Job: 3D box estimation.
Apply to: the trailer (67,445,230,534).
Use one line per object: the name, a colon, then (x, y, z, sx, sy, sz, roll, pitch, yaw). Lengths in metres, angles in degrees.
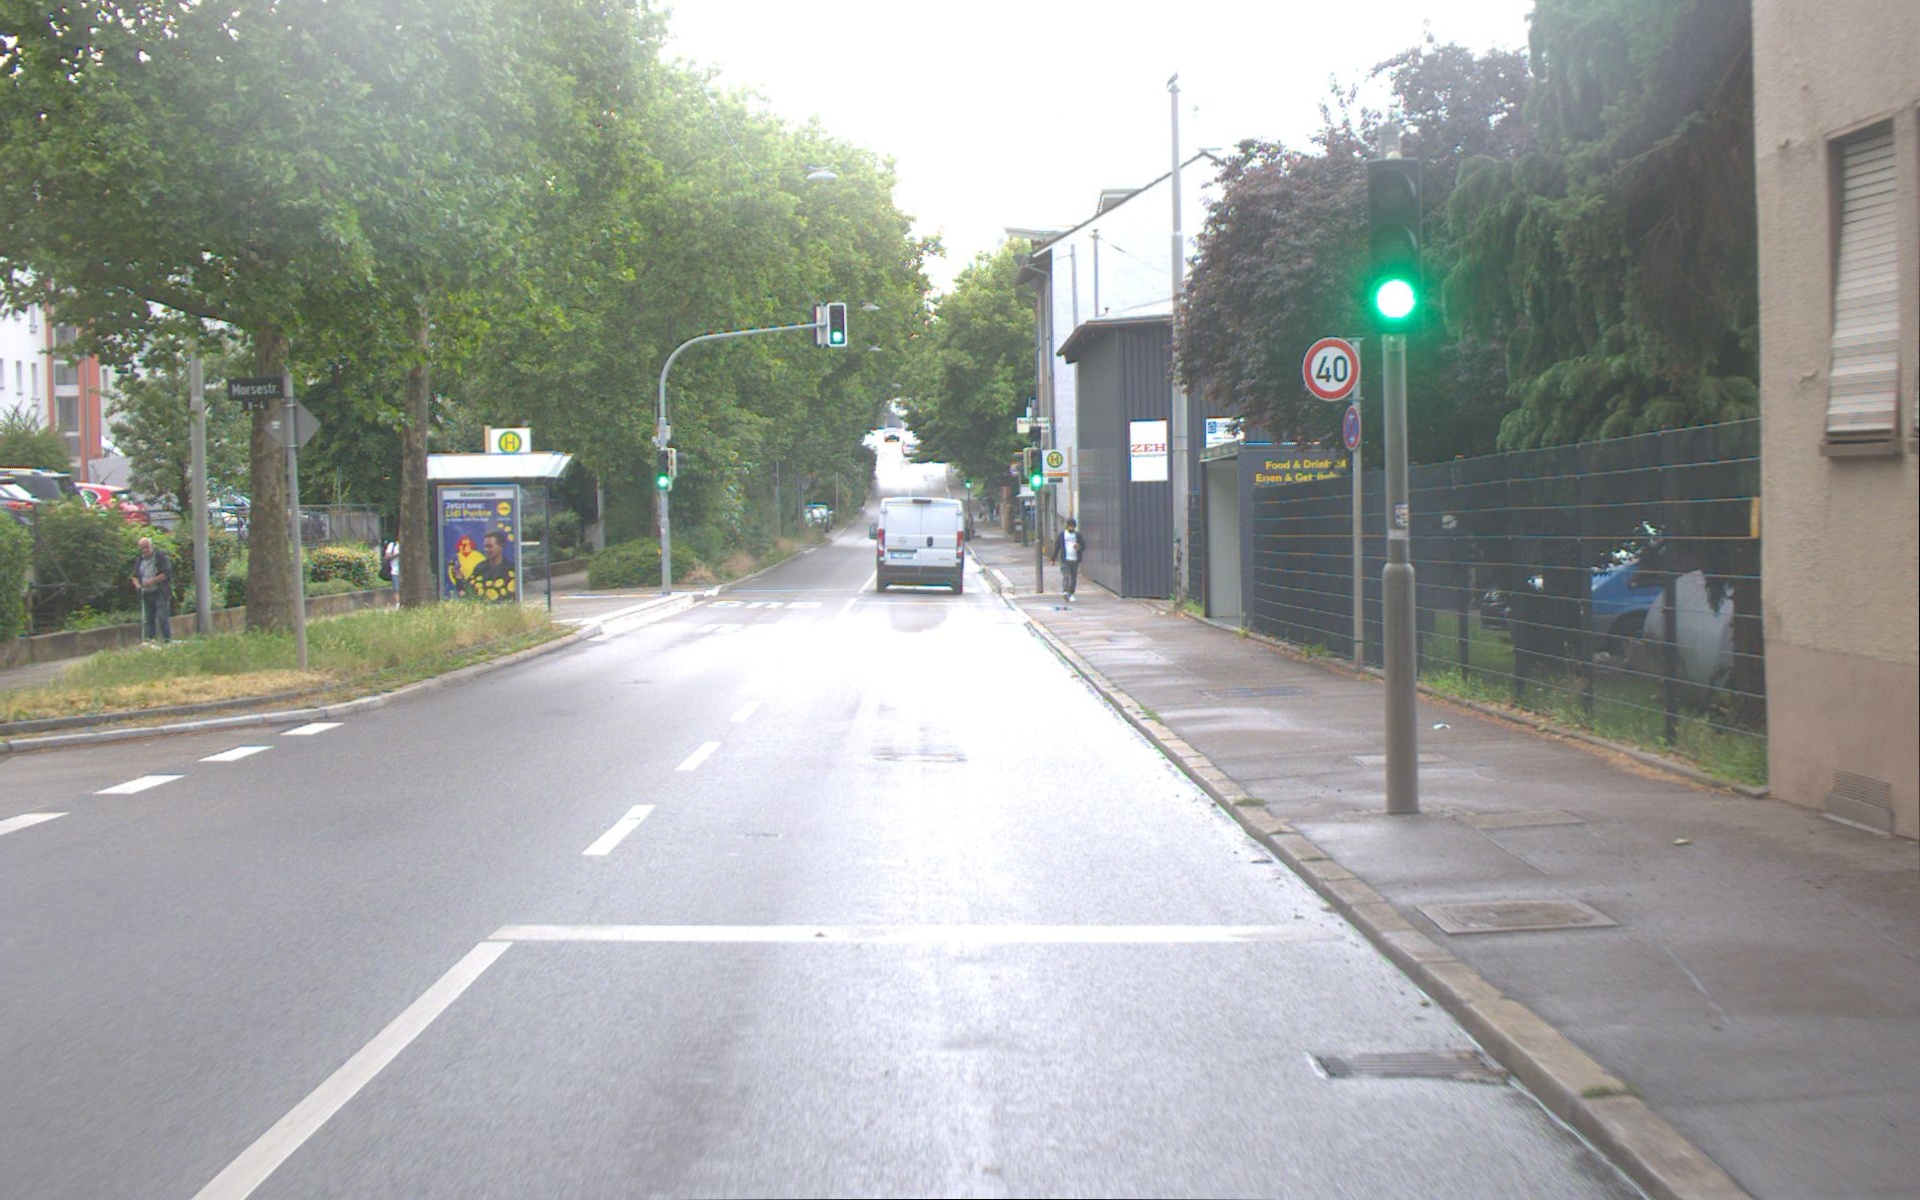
trailer: (-15.336, -2.082, 65.031, 2.704, 1.639, 1.480, 1, 1, 0)

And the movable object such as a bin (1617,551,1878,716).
movable object such as a bin: (6.831, 0.261, 30.048, 1.370, 1.315, 2.860, 1, 1, -5)

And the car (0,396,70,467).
car: (-23.573, -4.108, 83.365, 3.808, 1.596, 1.719, 1, 0, -14)

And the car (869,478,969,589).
car: (-0.949, -1.540, 81.178, 2.282, 2.544, 4.000, 0, 0, 0)

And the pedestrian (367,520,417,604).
pedestrian: (-11.185, -0.752, 67.723, 0.741, 1.593, 0.606, -4, -1, 3)

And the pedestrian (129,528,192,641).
pedestrian: (-11.603, -0.224, 49.884, 0.755, 1.605, 0.835, 1, 0, -5)

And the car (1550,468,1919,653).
car: (10.448, -0.487, 43.422, 5.566, 2.203, 2.000, 1, 1, -2)

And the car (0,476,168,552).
car: (-16.741, -1.571, 62.902, 4.088, 1.298, 1.810, 1, 0, 0)

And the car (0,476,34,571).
car: (-17.042, -1.250, 55.636, 3.652, 1.493, 1.898, 1, 0, -4)

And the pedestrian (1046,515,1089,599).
pedestrian: (2.190, -0.887, 70.419, 0.742, 1.698, 0.902, 1, 0, -6)

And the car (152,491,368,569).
car: (-15.979, -1.596, 78.674, 4.545, 1.666, 2.000, 1, 0, -1)
